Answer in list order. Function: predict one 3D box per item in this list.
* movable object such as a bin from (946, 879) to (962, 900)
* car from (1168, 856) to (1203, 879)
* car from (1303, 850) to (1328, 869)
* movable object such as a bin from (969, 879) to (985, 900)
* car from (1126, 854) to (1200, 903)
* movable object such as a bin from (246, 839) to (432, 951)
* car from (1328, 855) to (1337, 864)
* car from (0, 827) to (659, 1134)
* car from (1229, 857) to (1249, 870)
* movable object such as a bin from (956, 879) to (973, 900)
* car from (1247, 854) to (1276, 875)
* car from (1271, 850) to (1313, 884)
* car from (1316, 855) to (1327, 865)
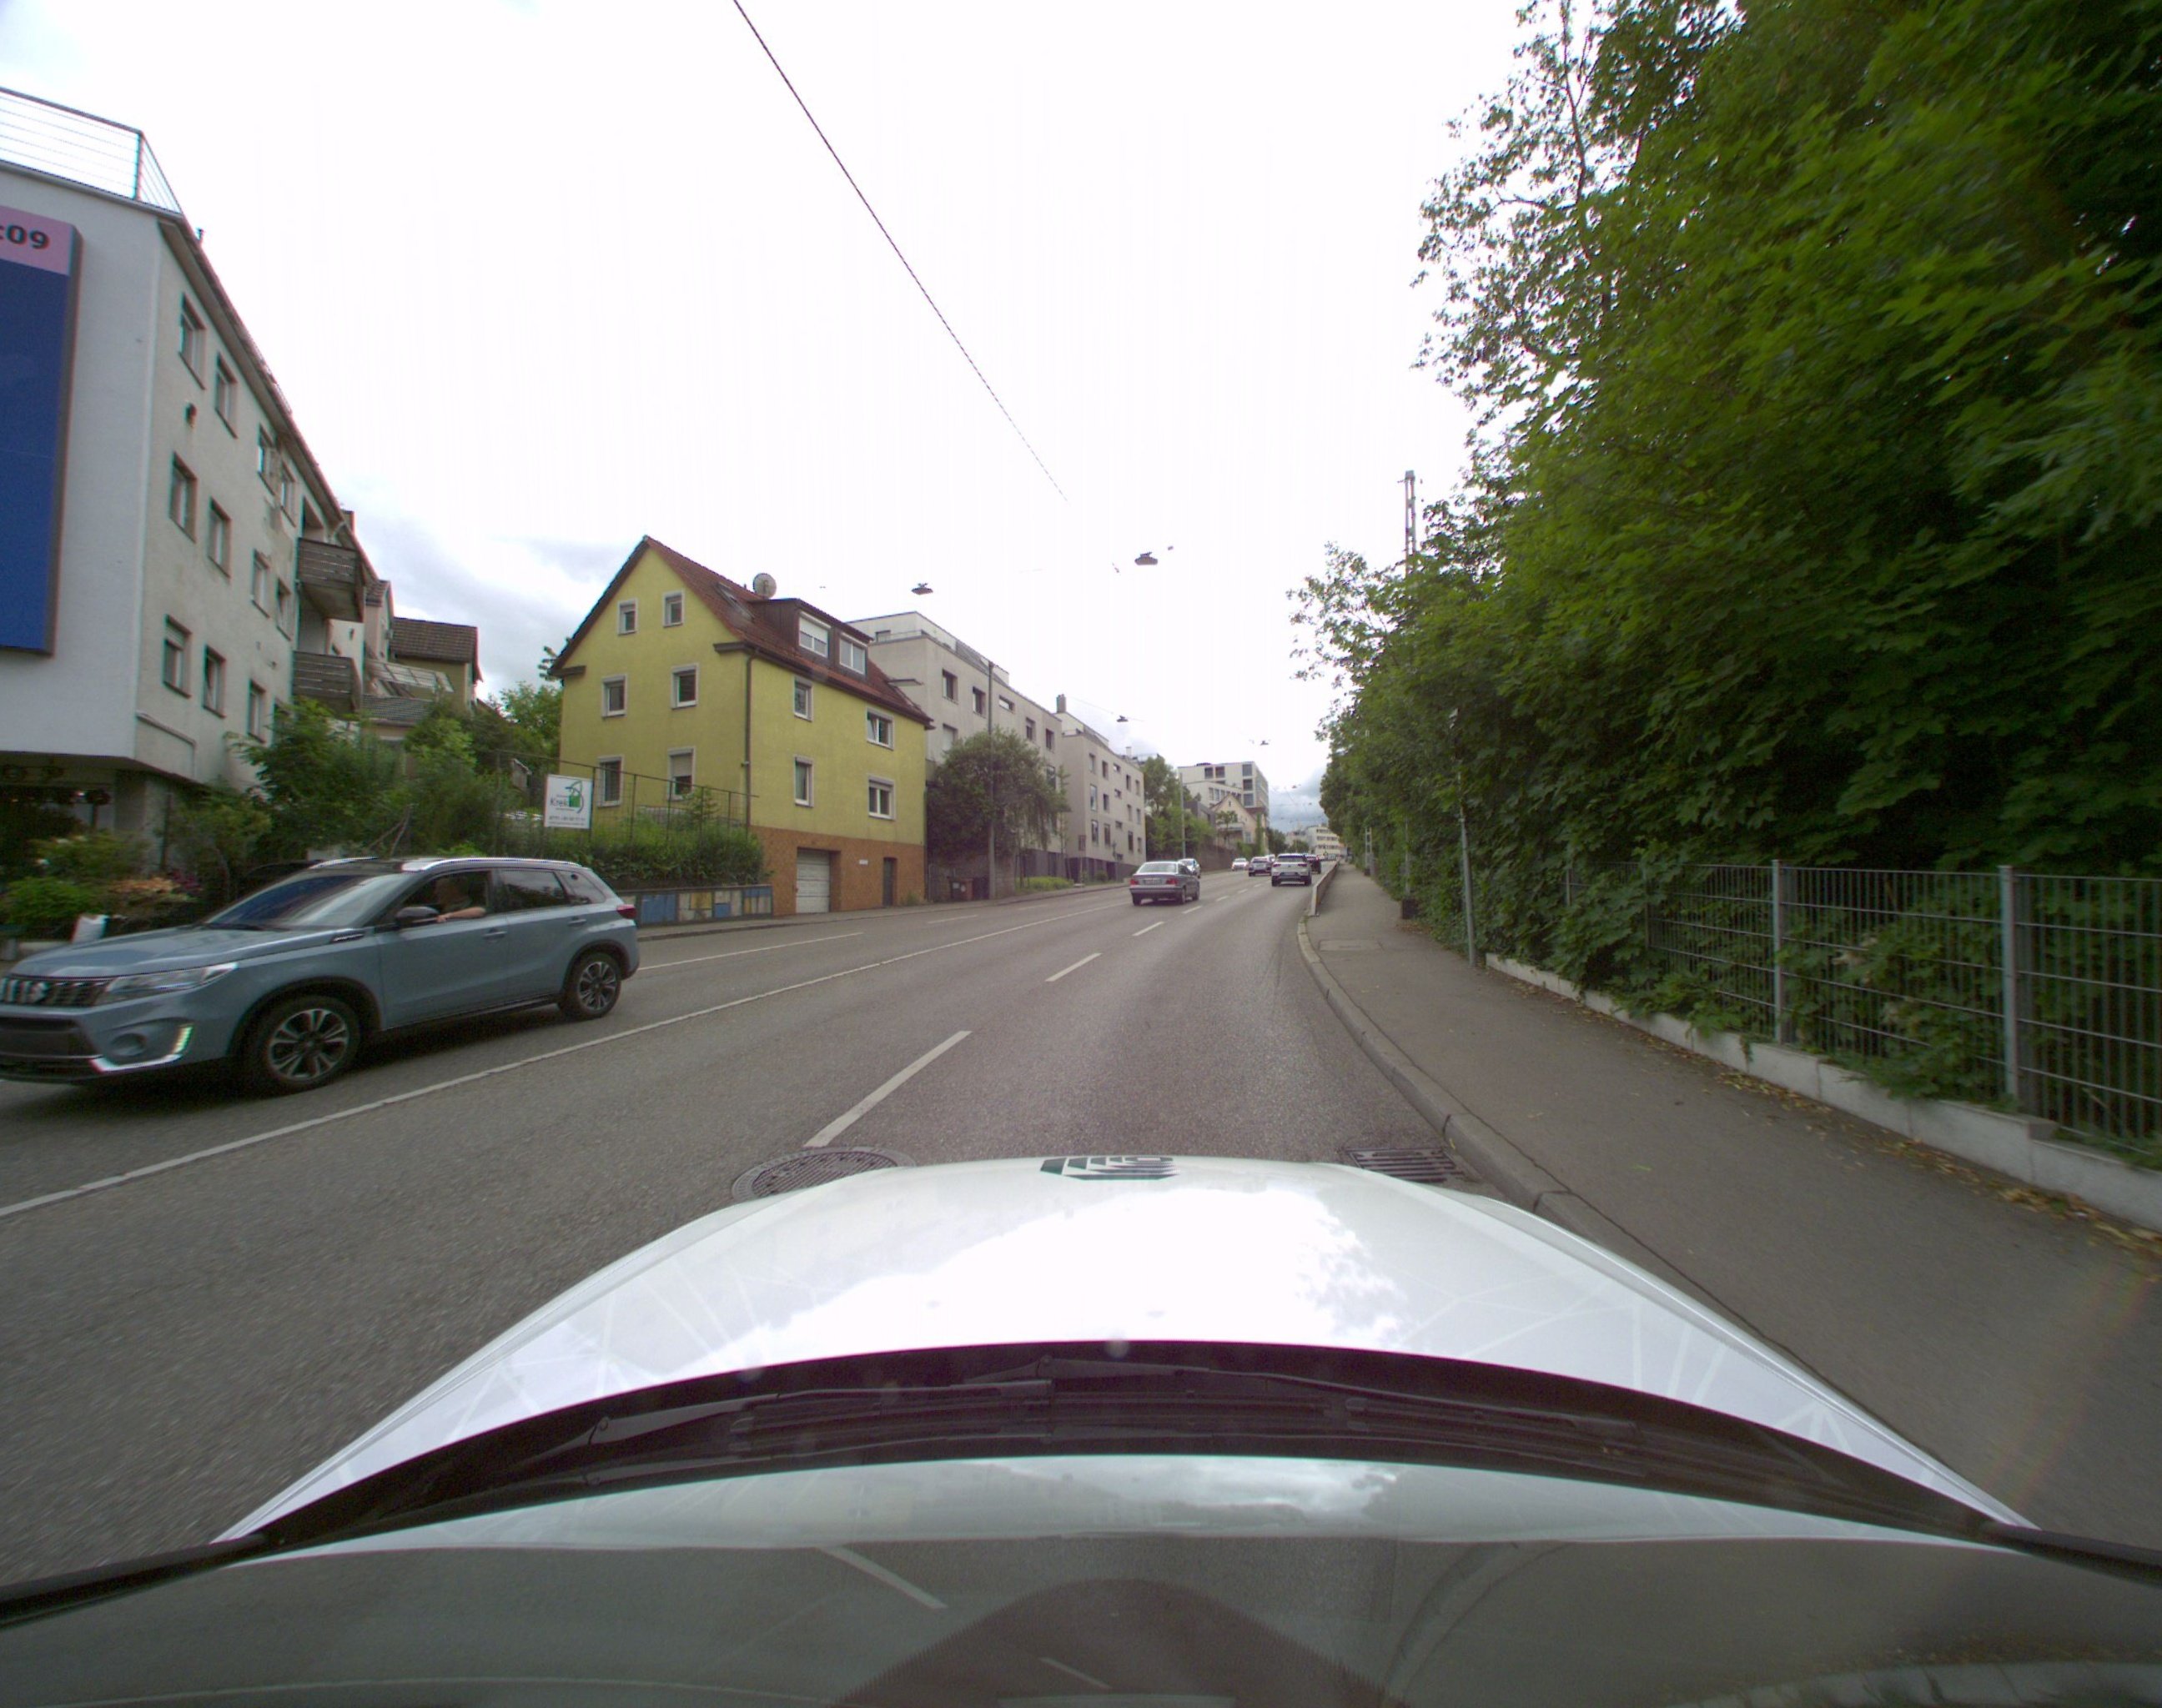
[{"bbox_3d":[-5.479,1.521,35.117,0.565,0.885,0.610,0,-1,1],"label":"movable object such as a bin"},{"bbox_3d":[7.947,0.996,61.627,1.730,1.614,4.076,-4,-1,19],"label":"car"},{"bbox_3d":[18.530,0.475,64.296,1.693,1.464,4.018,0,-1,18],"label":"car"},{"bbox_3d":[-4.419,1.513,34.724,0.565,0.885,0.610,0,-1,1],"label":"movable object such as a bin"},{"bbox_3d":[2.760,0.793,26.695,1.693,1.464,4.017,-1,-1,16],"label":"car"},{"bbox_3d":[-12.792,0.674,14.189,1.768,1.779,1.842,0,-1,-20],"label":"movable object such as a bin"},{"bbox_3d":[59.080,1.234,191.068,1.977,2.014,4.018,0,-1,18],"label":"car"},{"bbox_3d":[-5.887,0.718,6.805,1.884,1.695,4.360,-1,-1,11],"label":"car"},{"bbox_3d":[18.719,1.098,96.428,1.759,1.464,4.211,-3,-1,18],"label":"car"},{"bbox_3d":[-4.927,1.507,34.468,0.565,0.885,0.610,0,-1,1],"label":"movable object such as a bin"},{"bbox_3d":[13.557,0.753,61.085,1.693,1.464,4.019,-2,-1,18],"label":"car"},{"bbox_3d":[10.458,0.647,40.134,1.766,1.579,4.018,0,-1,18],"label":"car"},{"bbox_3d":[50.835,1.288,172.145,1.977,2.014,4.018,0,-1,18],"label":"car"}]
